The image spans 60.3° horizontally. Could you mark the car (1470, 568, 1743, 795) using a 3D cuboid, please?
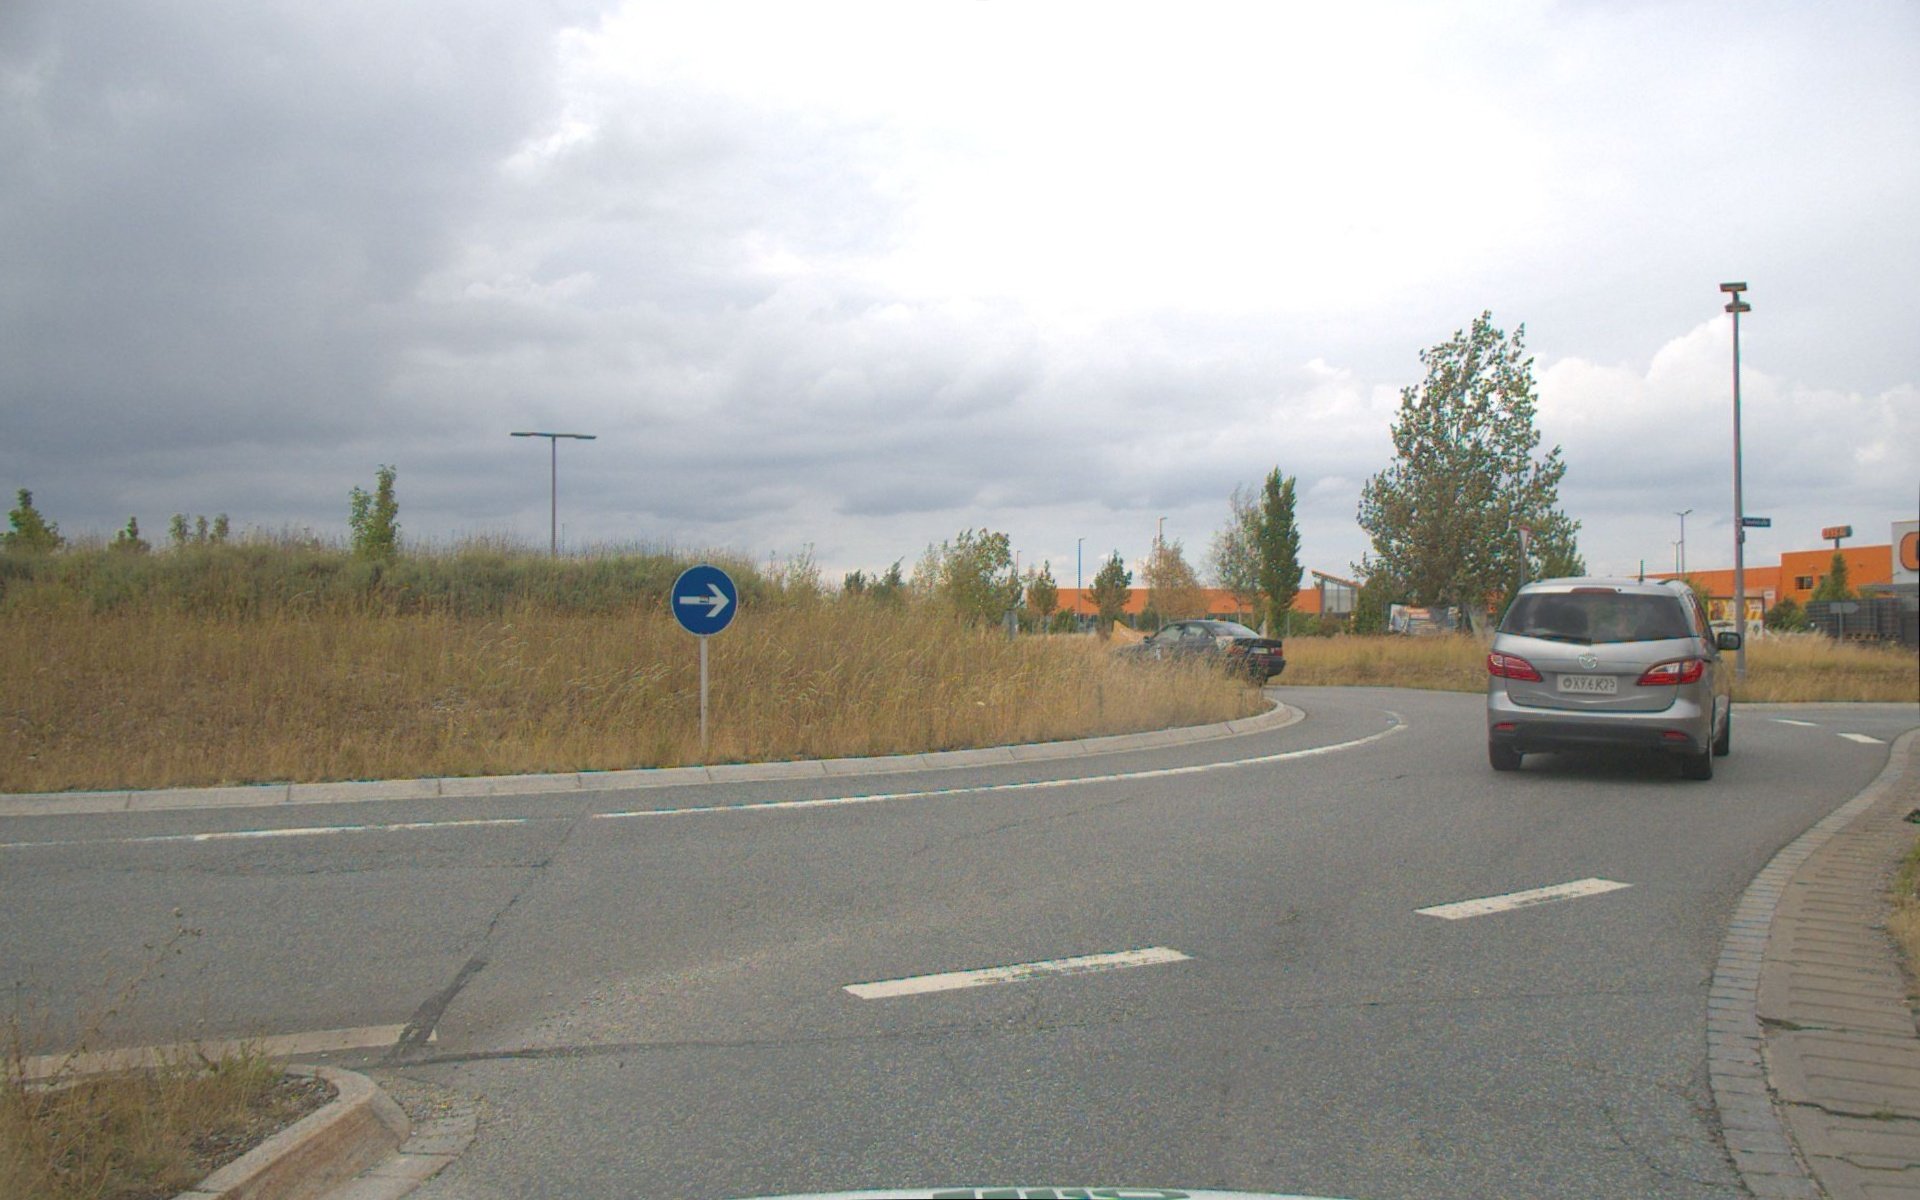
[{"bbox_3d":[5.770,0.568,14.488,1.705,1.626,3.992,2,2,29],"label":"car"}]

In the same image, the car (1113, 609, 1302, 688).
[{"bbox_3d":[5.052,0.954,34.181,1.721,1.428,3.953,0,1,-32],"label":"car"}]
